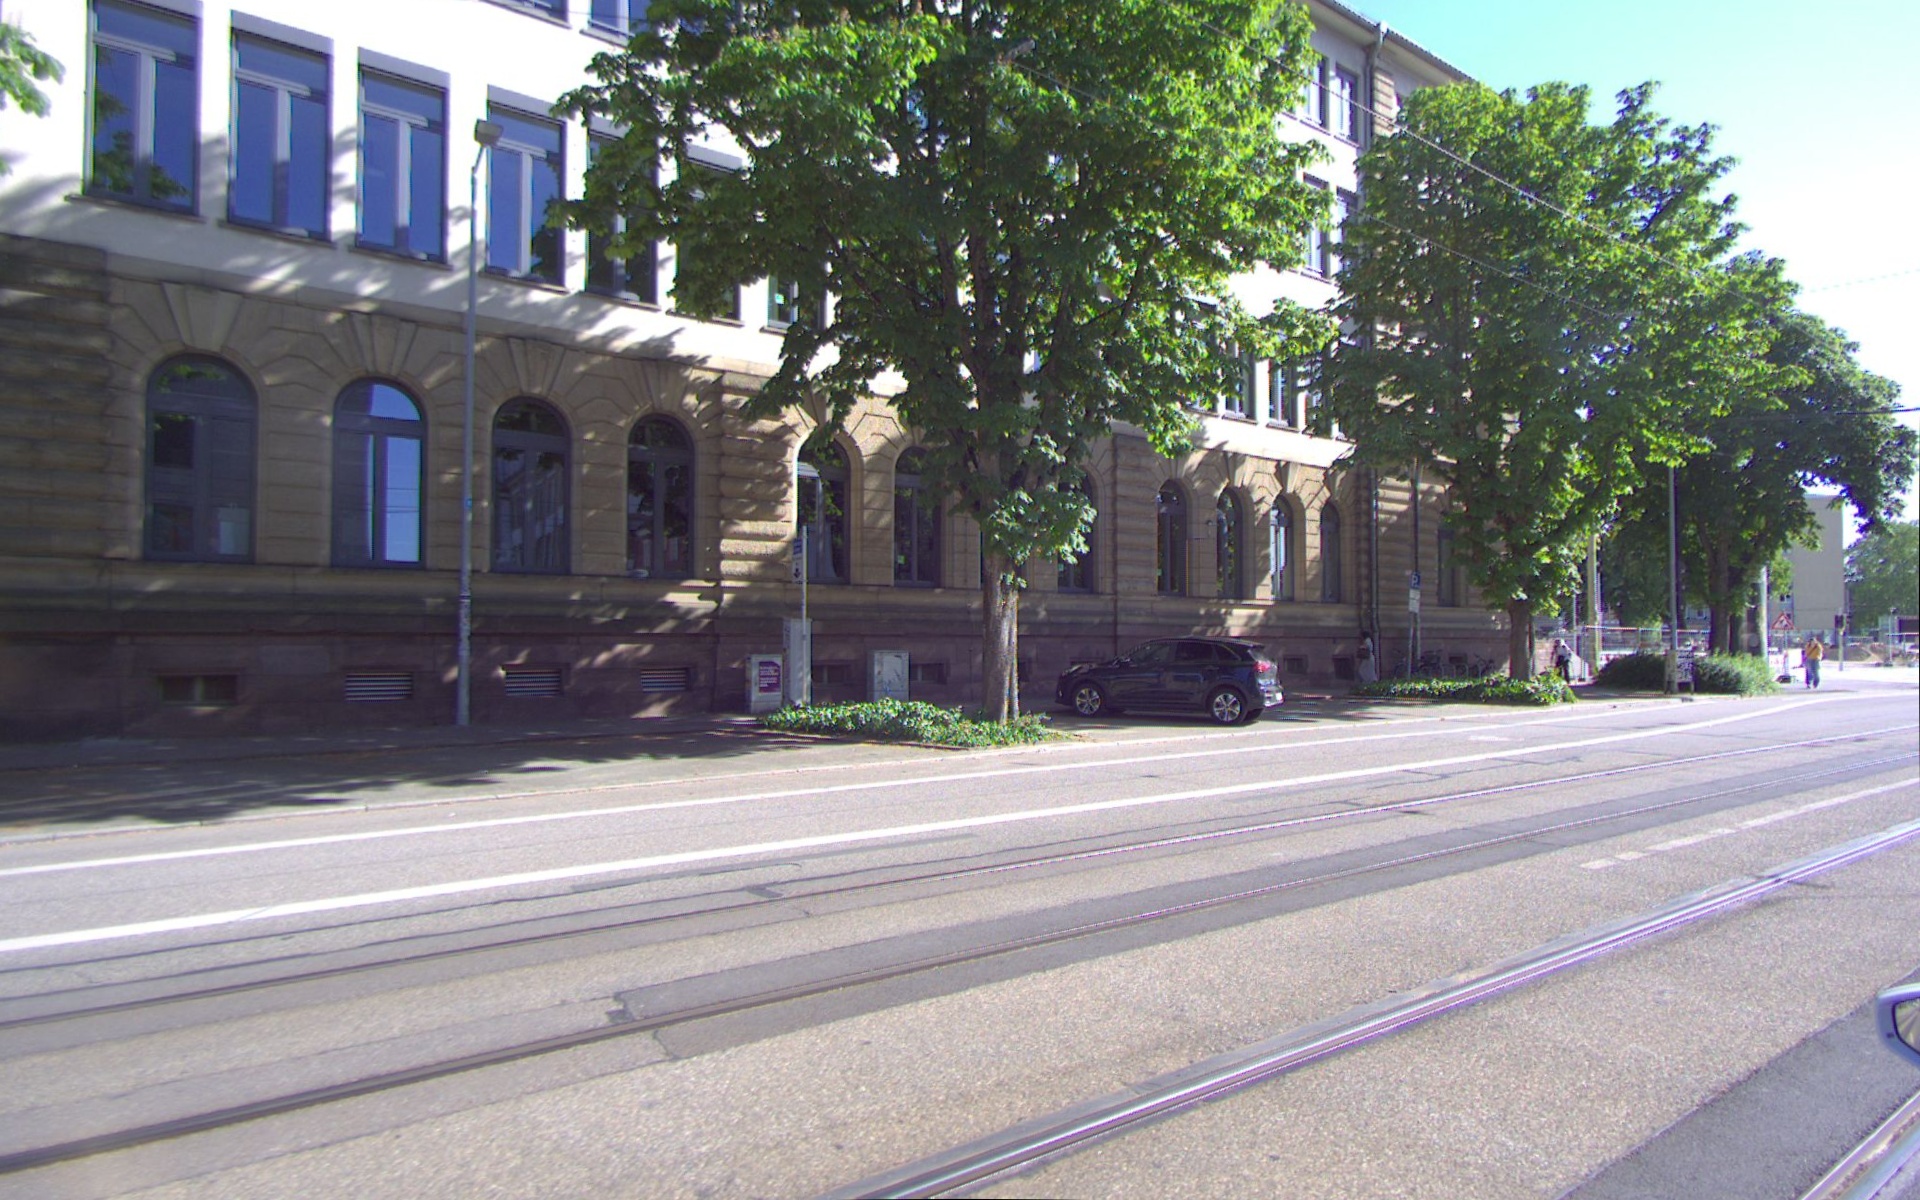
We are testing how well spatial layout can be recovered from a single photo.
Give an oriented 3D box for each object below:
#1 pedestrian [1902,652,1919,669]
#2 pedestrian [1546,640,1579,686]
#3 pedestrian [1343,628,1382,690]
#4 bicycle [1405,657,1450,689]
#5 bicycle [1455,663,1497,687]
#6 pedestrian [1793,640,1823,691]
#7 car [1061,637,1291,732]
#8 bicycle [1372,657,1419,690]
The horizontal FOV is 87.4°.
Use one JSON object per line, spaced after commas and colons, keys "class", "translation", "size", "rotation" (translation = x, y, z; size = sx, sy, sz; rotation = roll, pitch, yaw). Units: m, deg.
{"class": "pedestrian", "translation": [58.539, 3.713, 61.638], "size": [0.648, 1.060, 0.892], "rotation": [1, -2, -33]}
{"class": "pedestrian", "translation": [20.089, 2.090, 33.495], "size": [0.908, 1.524, 0.703], "rotation": [-1, -2, 34]}
{"class": "pedestrian", "translation": [11.259, 1.637, 28.106], "size": [0.751, 1.657, 0.696], "rotation": [1, 0, -34]}
{"class": "bicycle", "translation": [14.277, 2.216, 30.644], "size": [1.602, 0.929, 0.478], "rotation": [2, -3, -33]}
{"class": "bicycle", "translation": [16.589, 2.397, 32.301], "size": [1.602, 0.734, 0.478], "rotation": [2, -3, -33]}
{"class": "pedestrian", "translation": [29.173, 2.251, 34.548], "size": [0.814, 1.719, 0.630], "rotation": [3, -5, -44]}
{"class": "car", "translation": [4.122, 1.529, 19.194], "size": [3.928, 1.570, 1.875], "rotation": [0, -2, 29]}
{"class": "bicycle", "translation": [12.867, 2.154, 29.644], "size": [1.602, 0.929, 0.478], "rotation": [2, -3, -33]}
